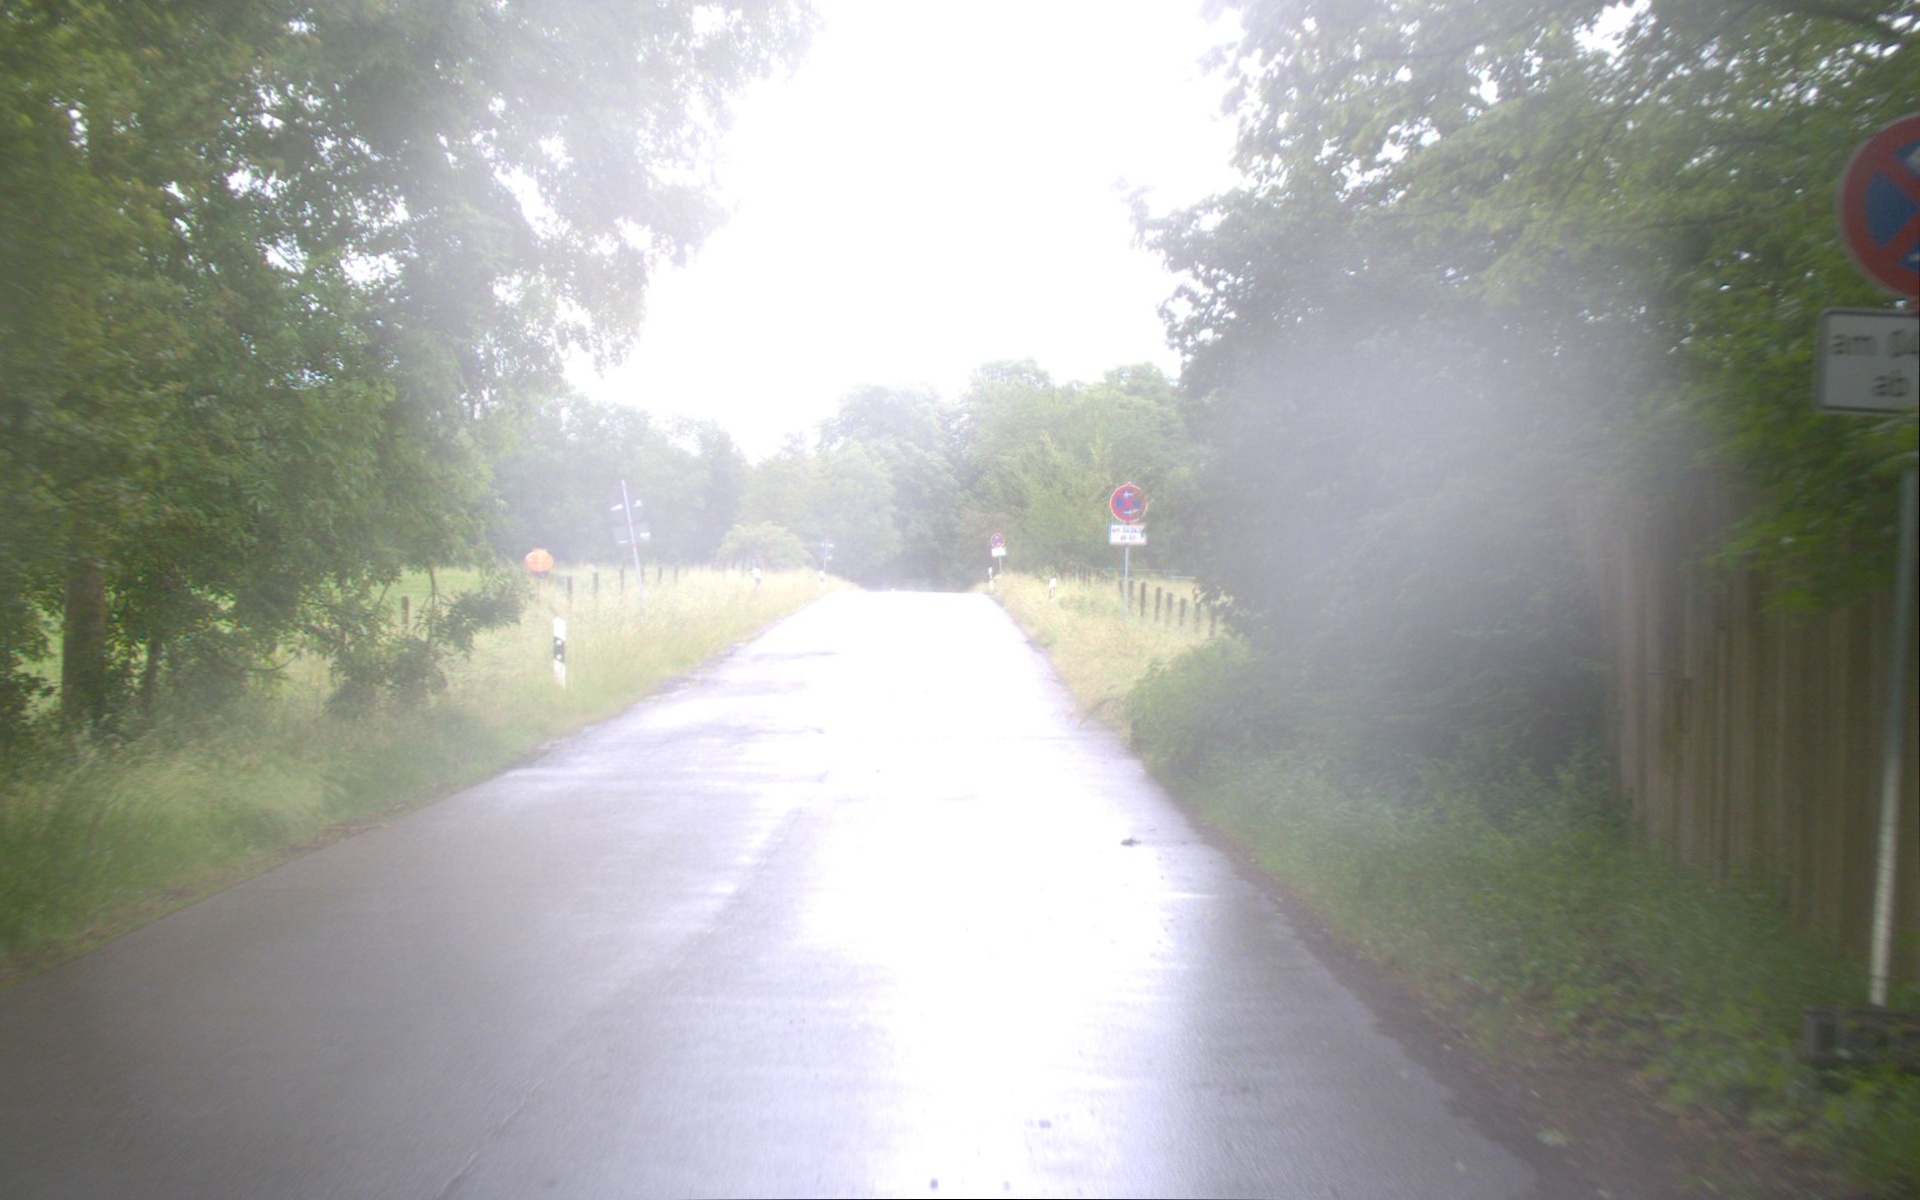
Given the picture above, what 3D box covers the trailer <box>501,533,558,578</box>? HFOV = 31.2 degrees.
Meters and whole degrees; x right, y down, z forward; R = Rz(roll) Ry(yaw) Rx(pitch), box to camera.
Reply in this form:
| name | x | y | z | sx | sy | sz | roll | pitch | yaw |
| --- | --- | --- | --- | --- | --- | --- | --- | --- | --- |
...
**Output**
| name | x | y | z | sx | sy | sz | roll | pitch | yaw |
| --- | --- | --- | --- | --- | --- | --- | --- | --- | --- |
| trailer | -14.727 | -1.543 | 117.486 | 1.751 | 1.499 | 3.091 | 0 | 1 | -11 |
